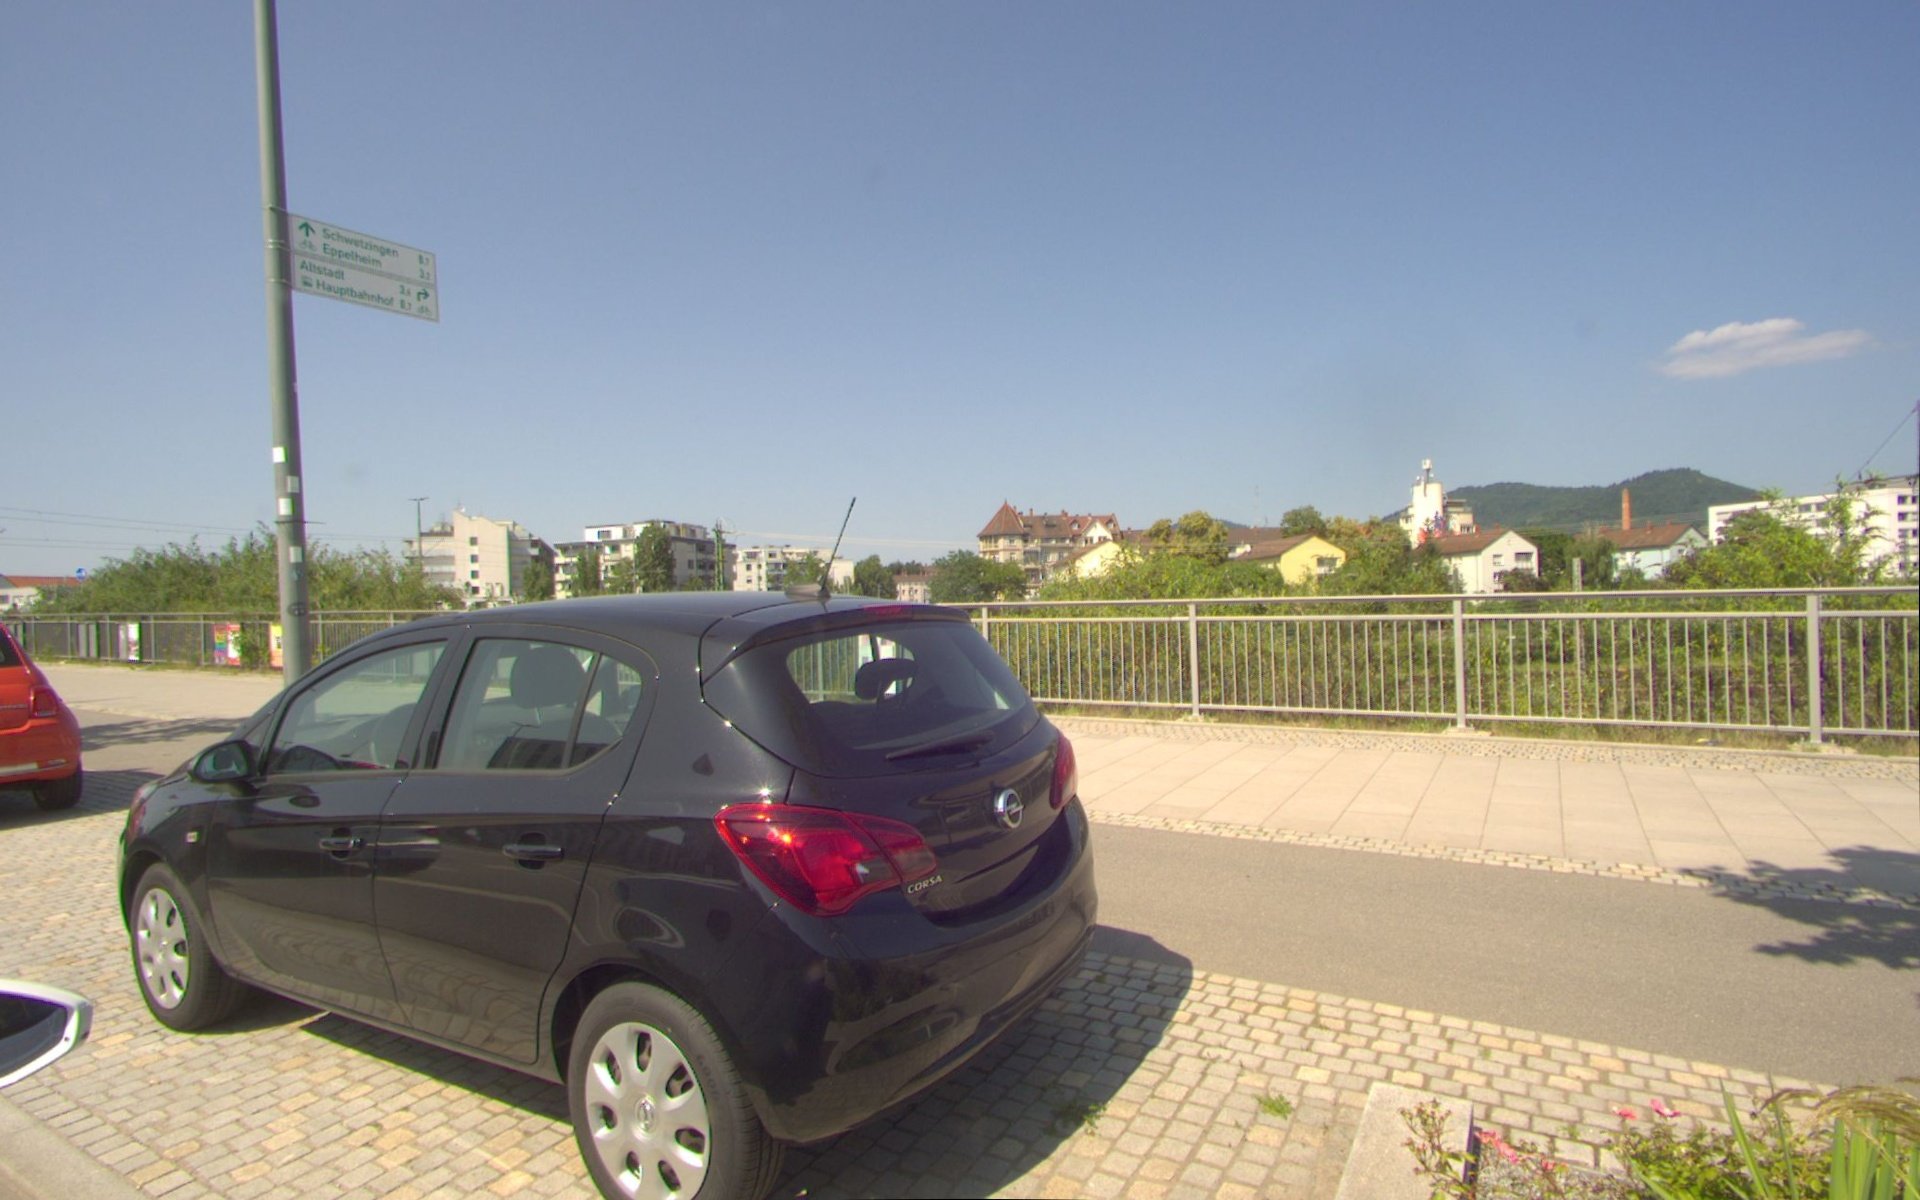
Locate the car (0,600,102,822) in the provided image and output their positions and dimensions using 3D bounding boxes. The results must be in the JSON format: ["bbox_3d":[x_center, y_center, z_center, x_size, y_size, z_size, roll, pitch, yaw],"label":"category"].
[{"bbox_3d":[-8.154,0.800,7.611,3.305,1.517,1.606,-1,2,34],"label":"car"}]

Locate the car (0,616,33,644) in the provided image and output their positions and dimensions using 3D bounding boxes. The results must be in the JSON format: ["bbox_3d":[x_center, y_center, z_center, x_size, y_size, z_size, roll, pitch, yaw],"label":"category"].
[{"bbox_3d":[-47.573,1.459,48.410,1.560,1.402,3.717,-1,-2,25],"label":"car"}]

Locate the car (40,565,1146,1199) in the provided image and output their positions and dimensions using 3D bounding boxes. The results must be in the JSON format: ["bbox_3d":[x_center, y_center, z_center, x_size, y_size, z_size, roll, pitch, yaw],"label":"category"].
[{"bbox_3d":[-1.507,0.691,3.594,3.943,1.445,1.656,-1,0,32],"label":"car"}]
